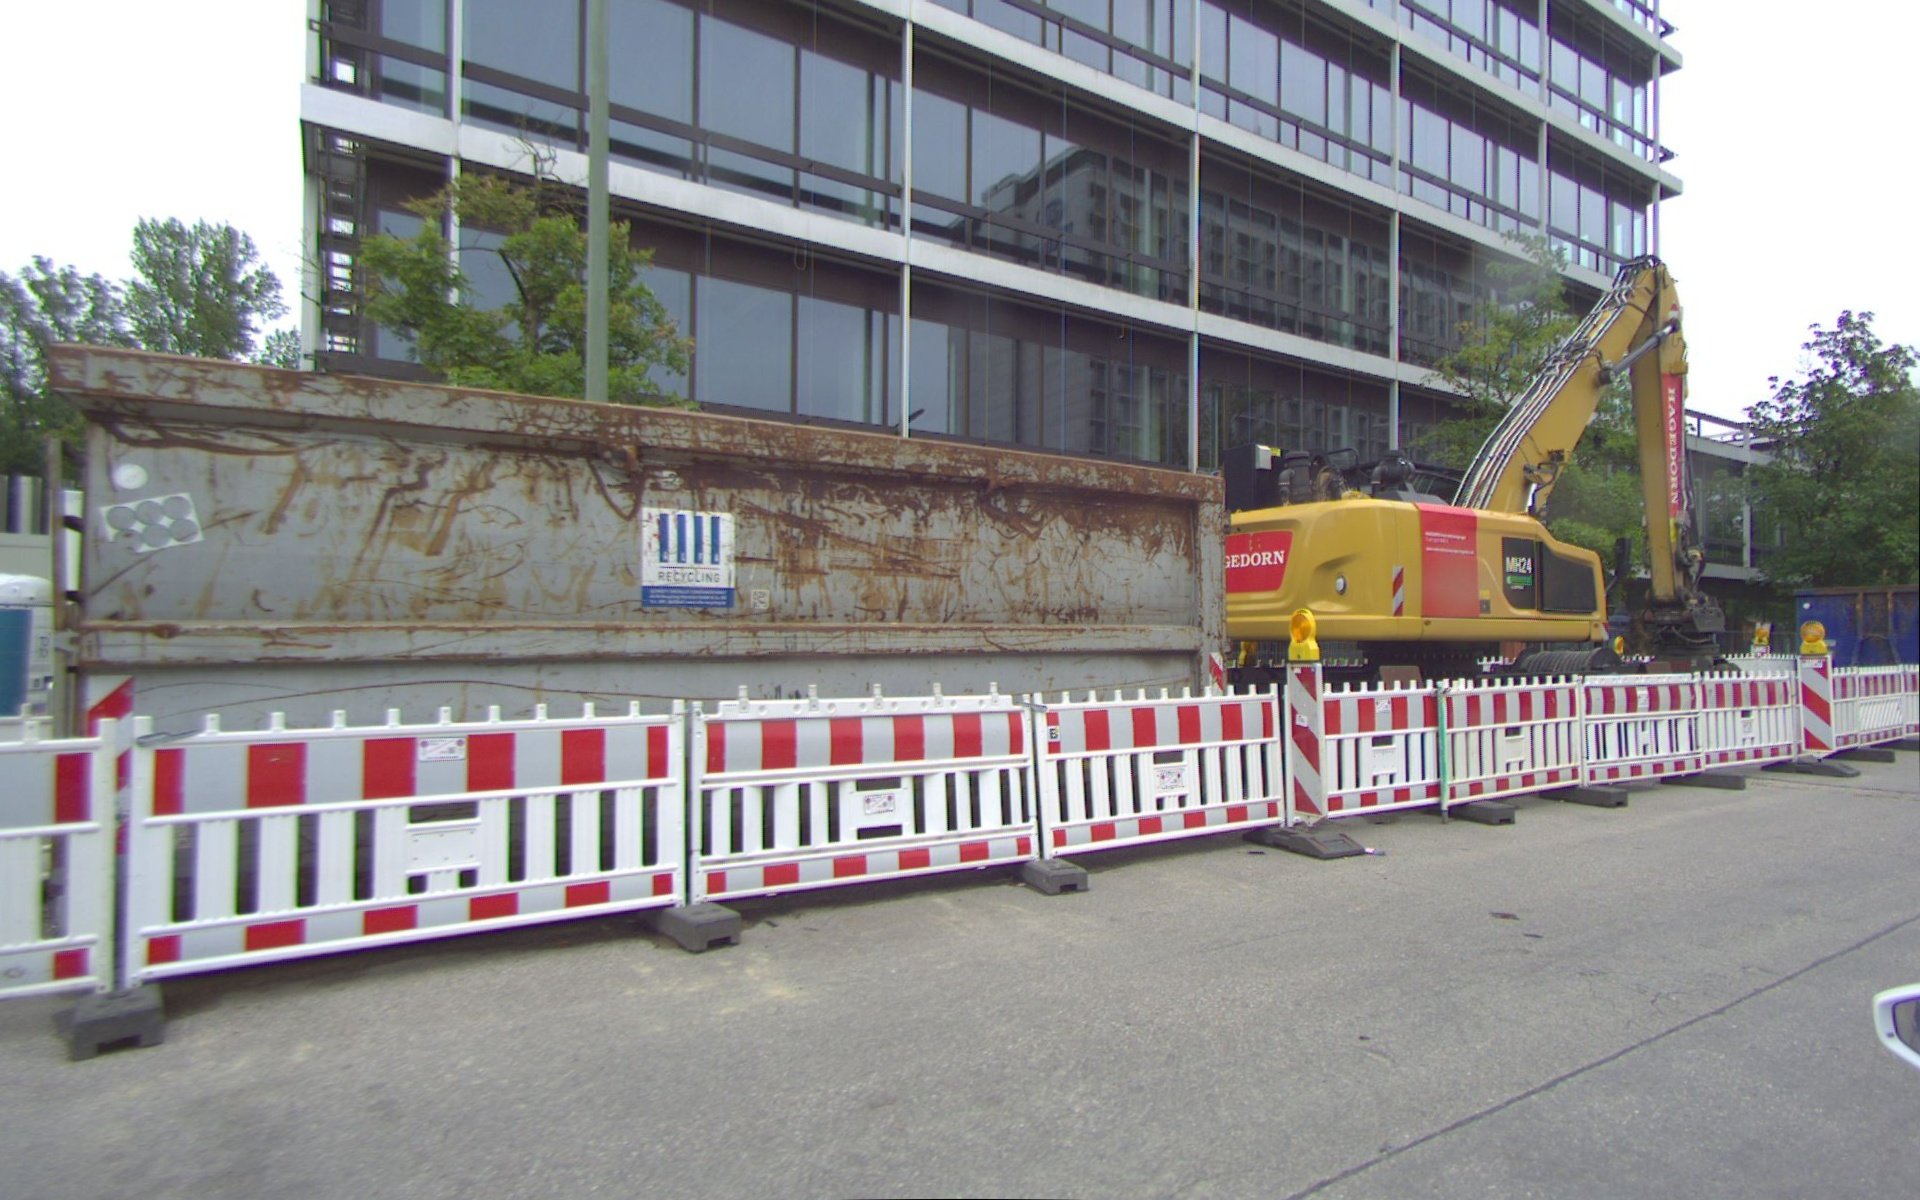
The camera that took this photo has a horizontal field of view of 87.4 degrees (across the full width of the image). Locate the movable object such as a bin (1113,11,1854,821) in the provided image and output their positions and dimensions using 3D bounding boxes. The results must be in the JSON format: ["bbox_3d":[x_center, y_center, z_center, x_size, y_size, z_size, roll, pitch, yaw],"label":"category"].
[{"bbox_3d":[7.276,-1.363,12.612,11.657,6.650,2.888,2,-2,-33],"label":"movable object such as a bin"}]
